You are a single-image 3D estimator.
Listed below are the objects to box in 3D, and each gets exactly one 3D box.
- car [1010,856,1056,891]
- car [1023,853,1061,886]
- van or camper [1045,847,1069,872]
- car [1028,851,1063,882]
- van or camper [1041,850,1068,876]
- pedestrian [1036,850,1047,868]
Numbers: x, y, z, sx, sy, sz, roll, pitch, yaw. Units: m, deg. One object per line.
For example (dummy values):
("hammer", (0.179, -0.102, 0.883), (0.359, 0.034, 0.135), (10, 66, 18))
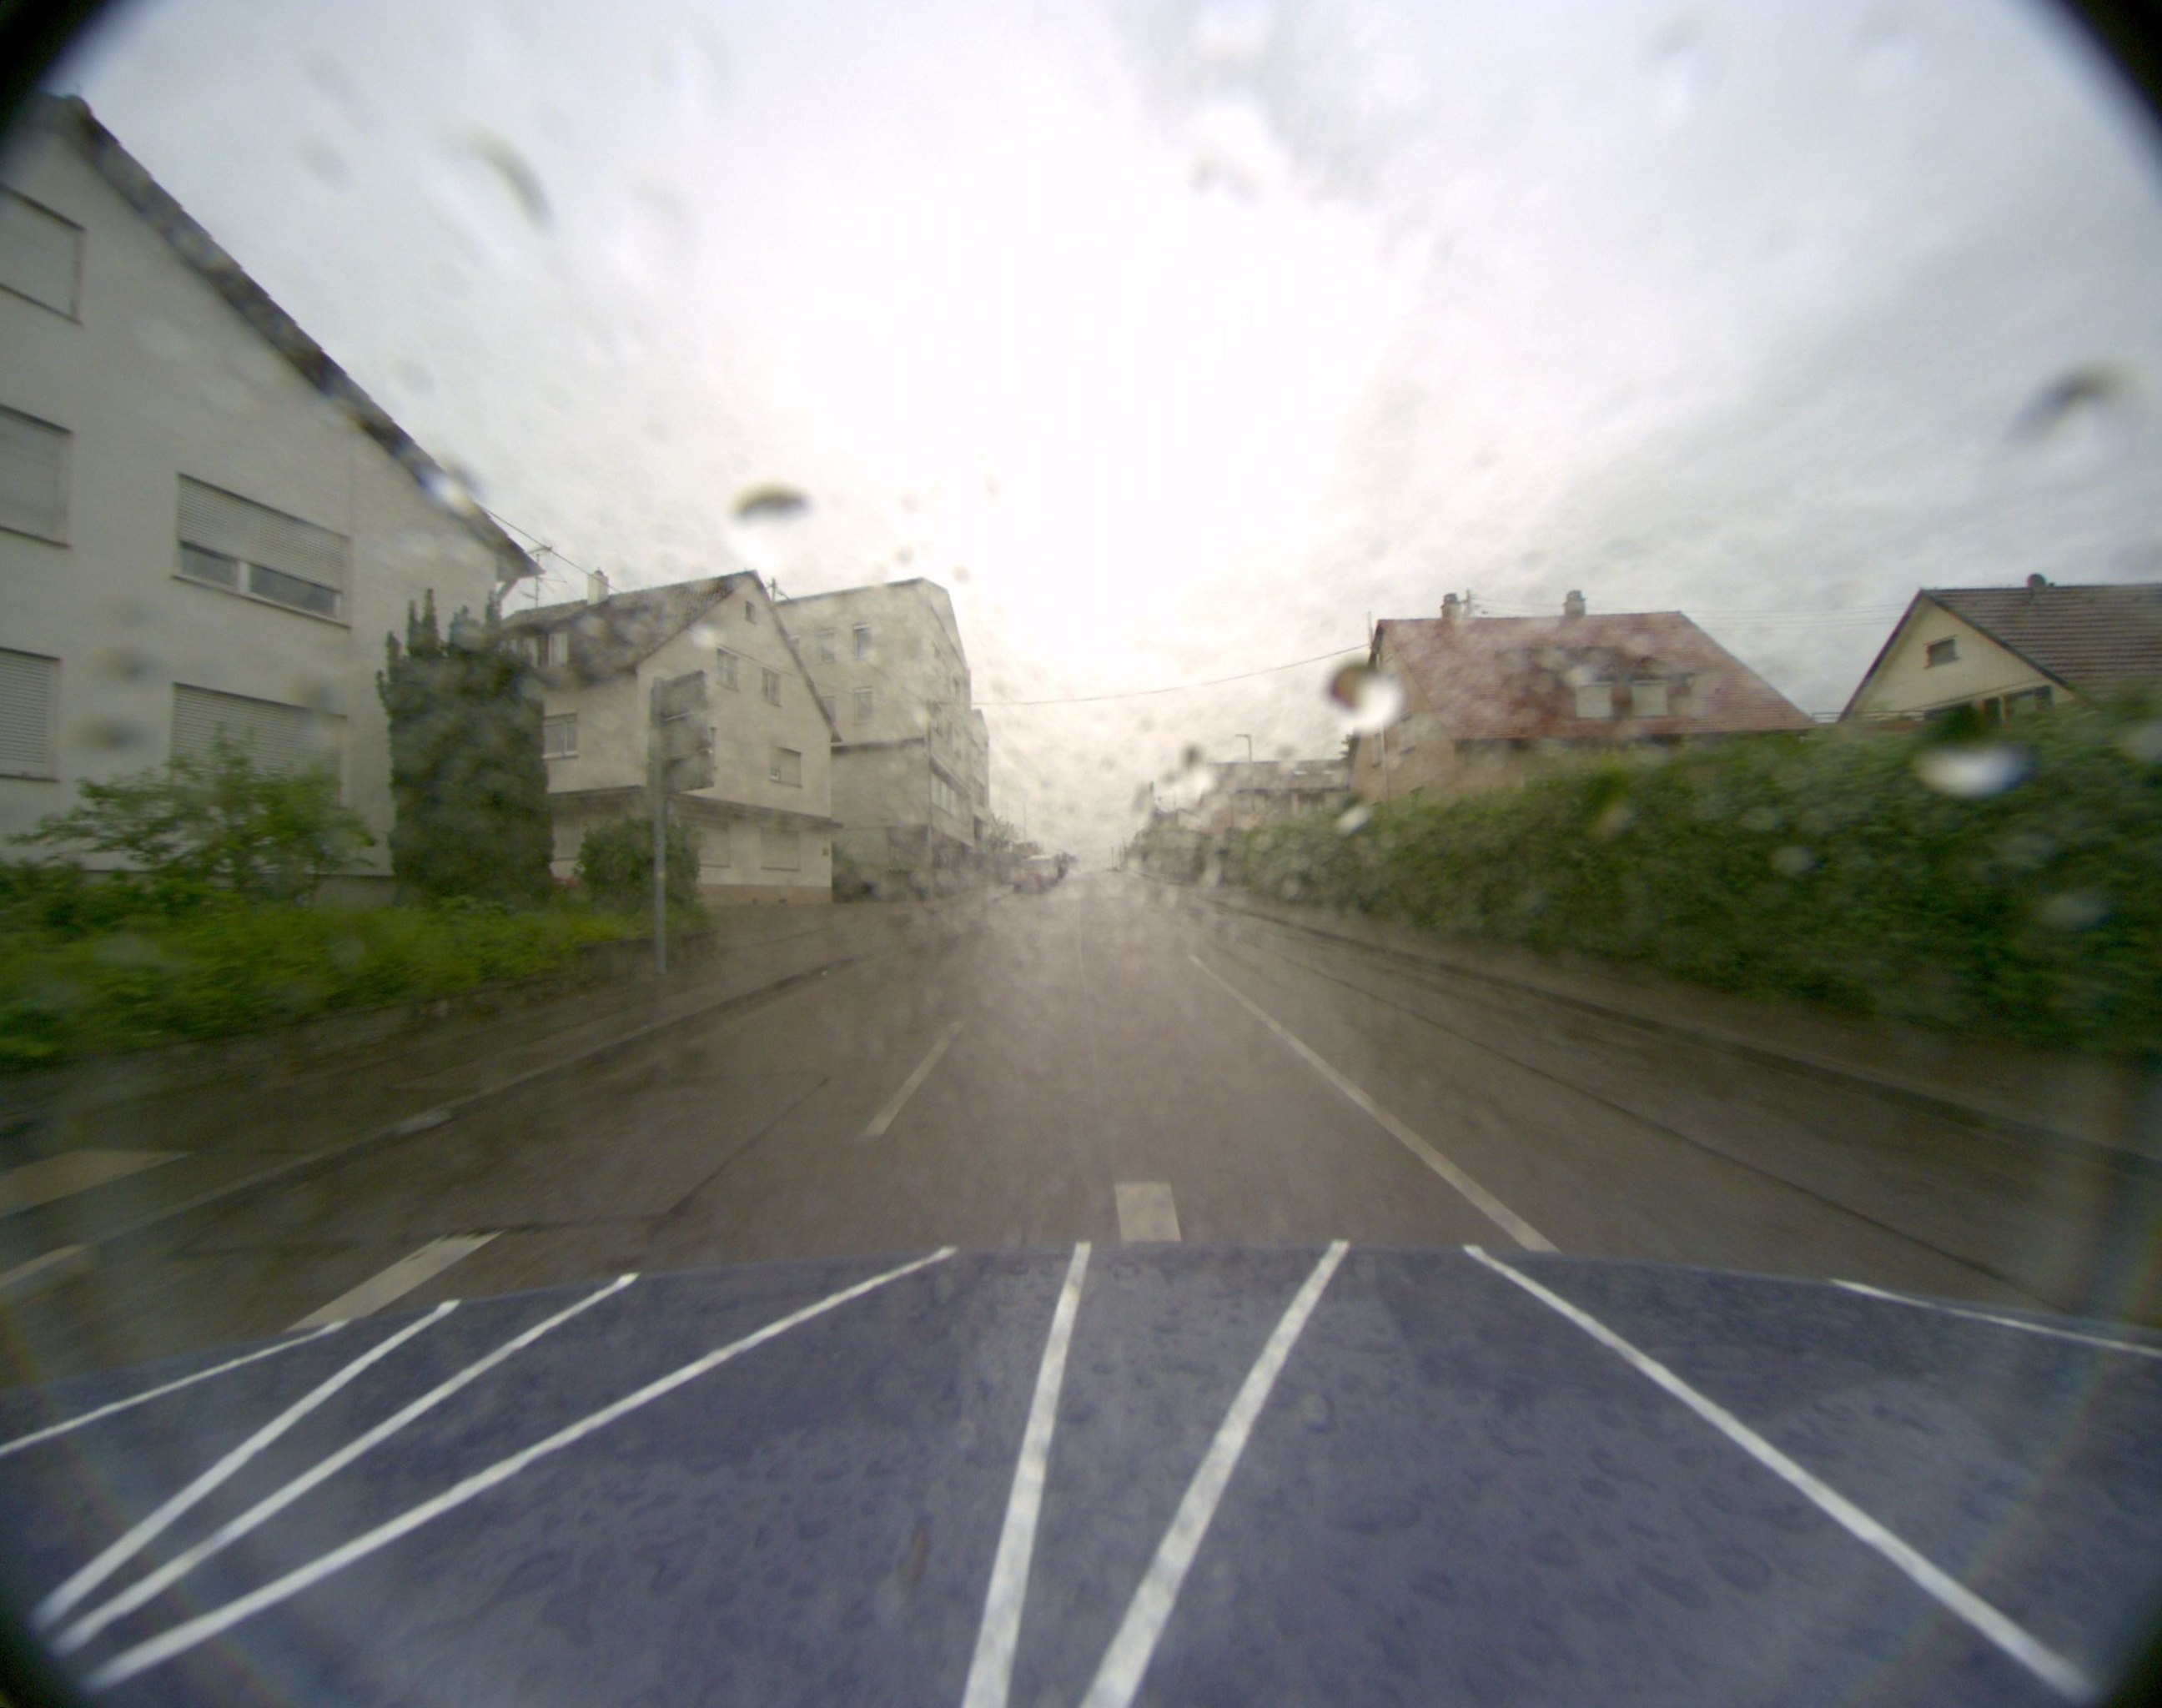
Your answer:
("car", (-2.476, 0.988, 40.366), (1.998, 1.635, 4.958), (-2, 0, 1))
("car", (-2.266, 0.905, 45.593), (1.883, 1.823, 4.489), (-2, 0, 1))
("van or camper", (-2.183, 0.555, 71.250), (1.998, 2.229, 5.441), (-1, 0, 0))
("car", (-2.330, 0.803, 51.371), (1.998, 1.923, 4.976), (-2, 0, 1))
("van or camper", (-2.226, 0.742, 65.108), (1.998, 2.101, 5.203), (-1, 0, 0))
("pedestrian", (-3.953, 0.535, 75.939), (1.026, 1.748, 1.031), (-1, -1, -2))
